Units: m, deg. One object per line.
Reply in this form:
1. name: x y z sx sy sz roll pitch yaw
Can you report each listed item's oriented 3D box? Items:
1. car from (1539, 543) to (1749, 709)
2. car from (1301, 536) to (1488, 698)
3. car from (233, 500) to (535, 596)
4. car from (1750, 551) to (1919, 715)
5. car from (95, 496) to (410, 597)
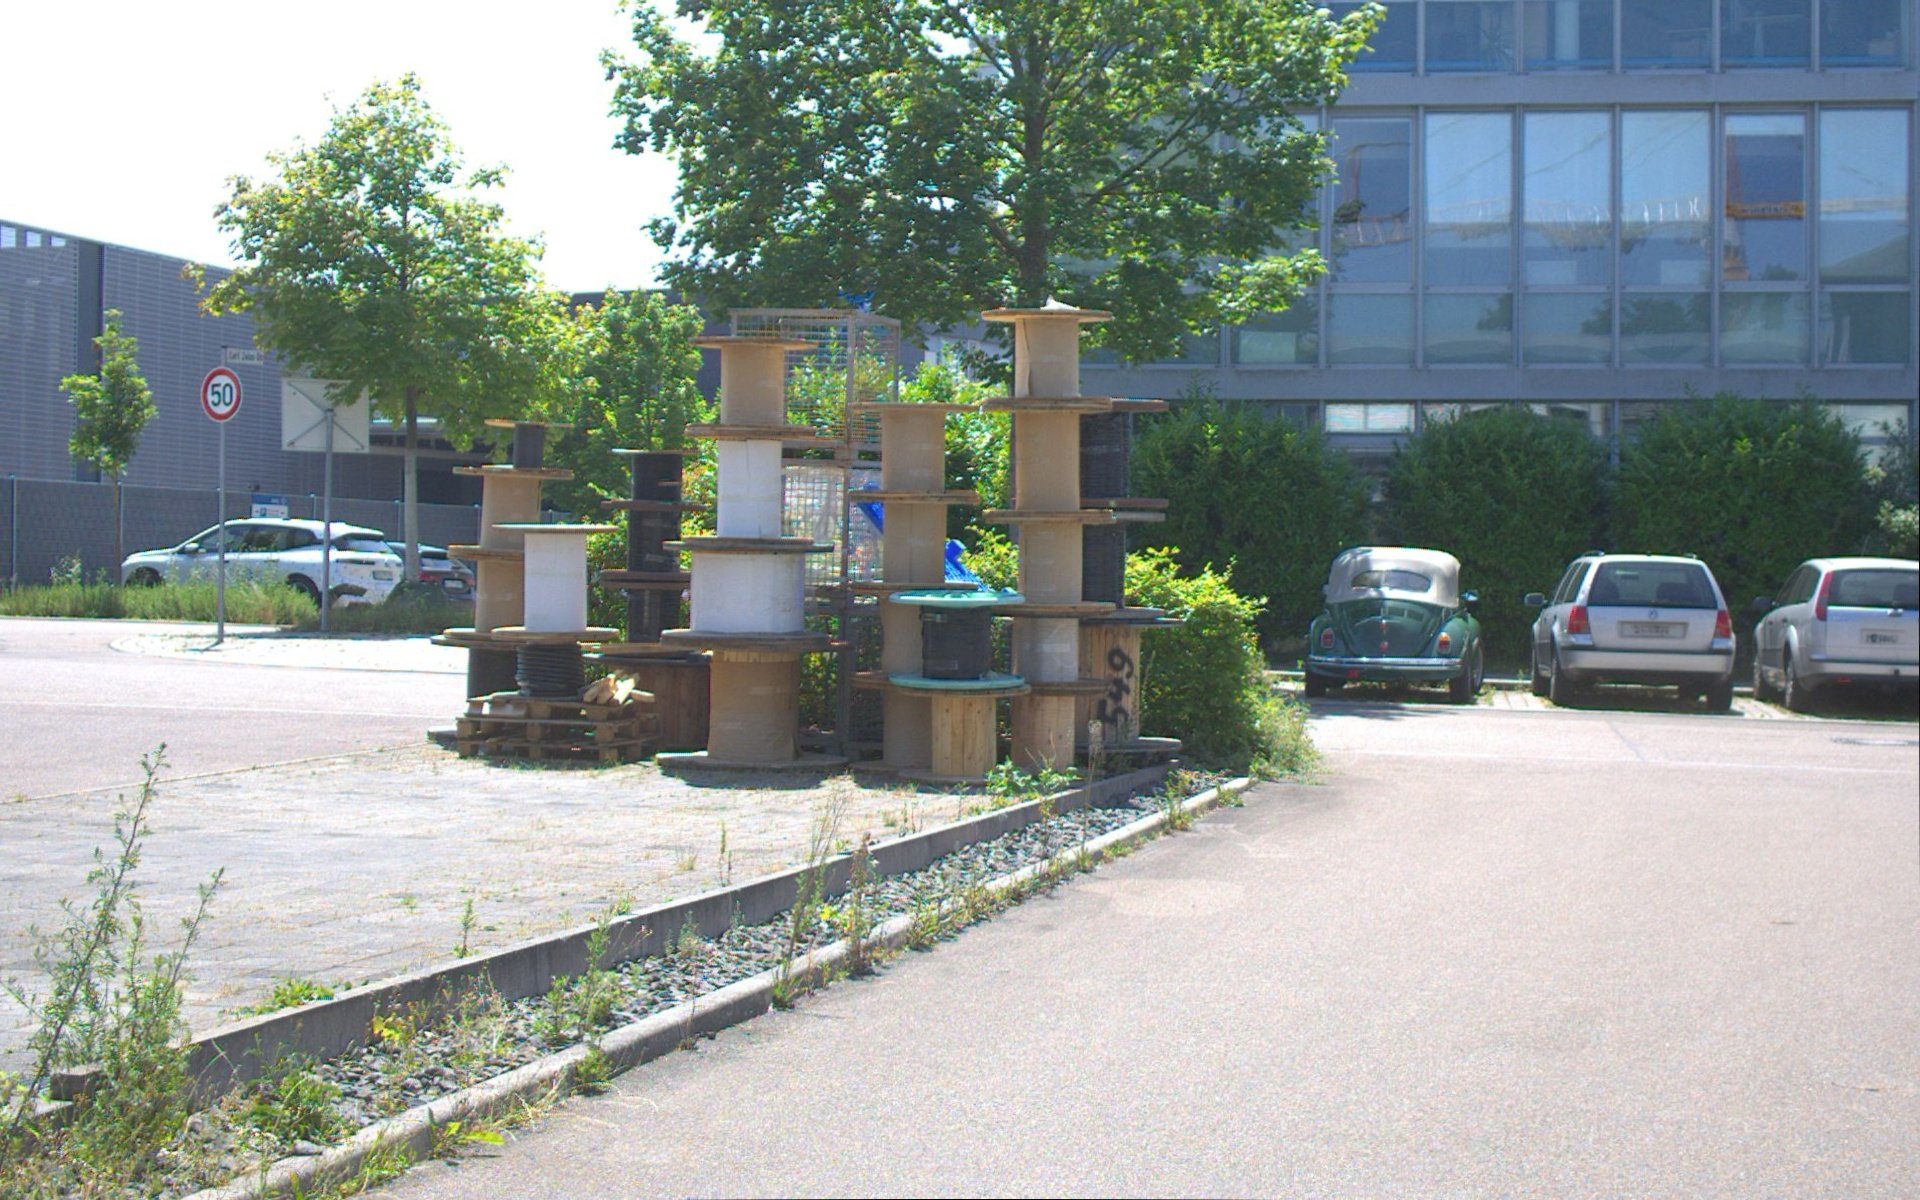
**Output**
1. car: 6.665 0.214 33.787 1.732 1.444 3.653 2 2 7
2. car: 4.345 0.123 34.040 1.542 1.444 3.652 2 2 11
3. car: -9.851 -0.911 58.744 4.846 1.486 1.997 2 2 27
4. car: 8.873 0.291 33.772 1.765 1.444 3.653 2 2 7
5. car: -11.580 -0.892 56.200 4.846 1.486 1.997 2 2 27
